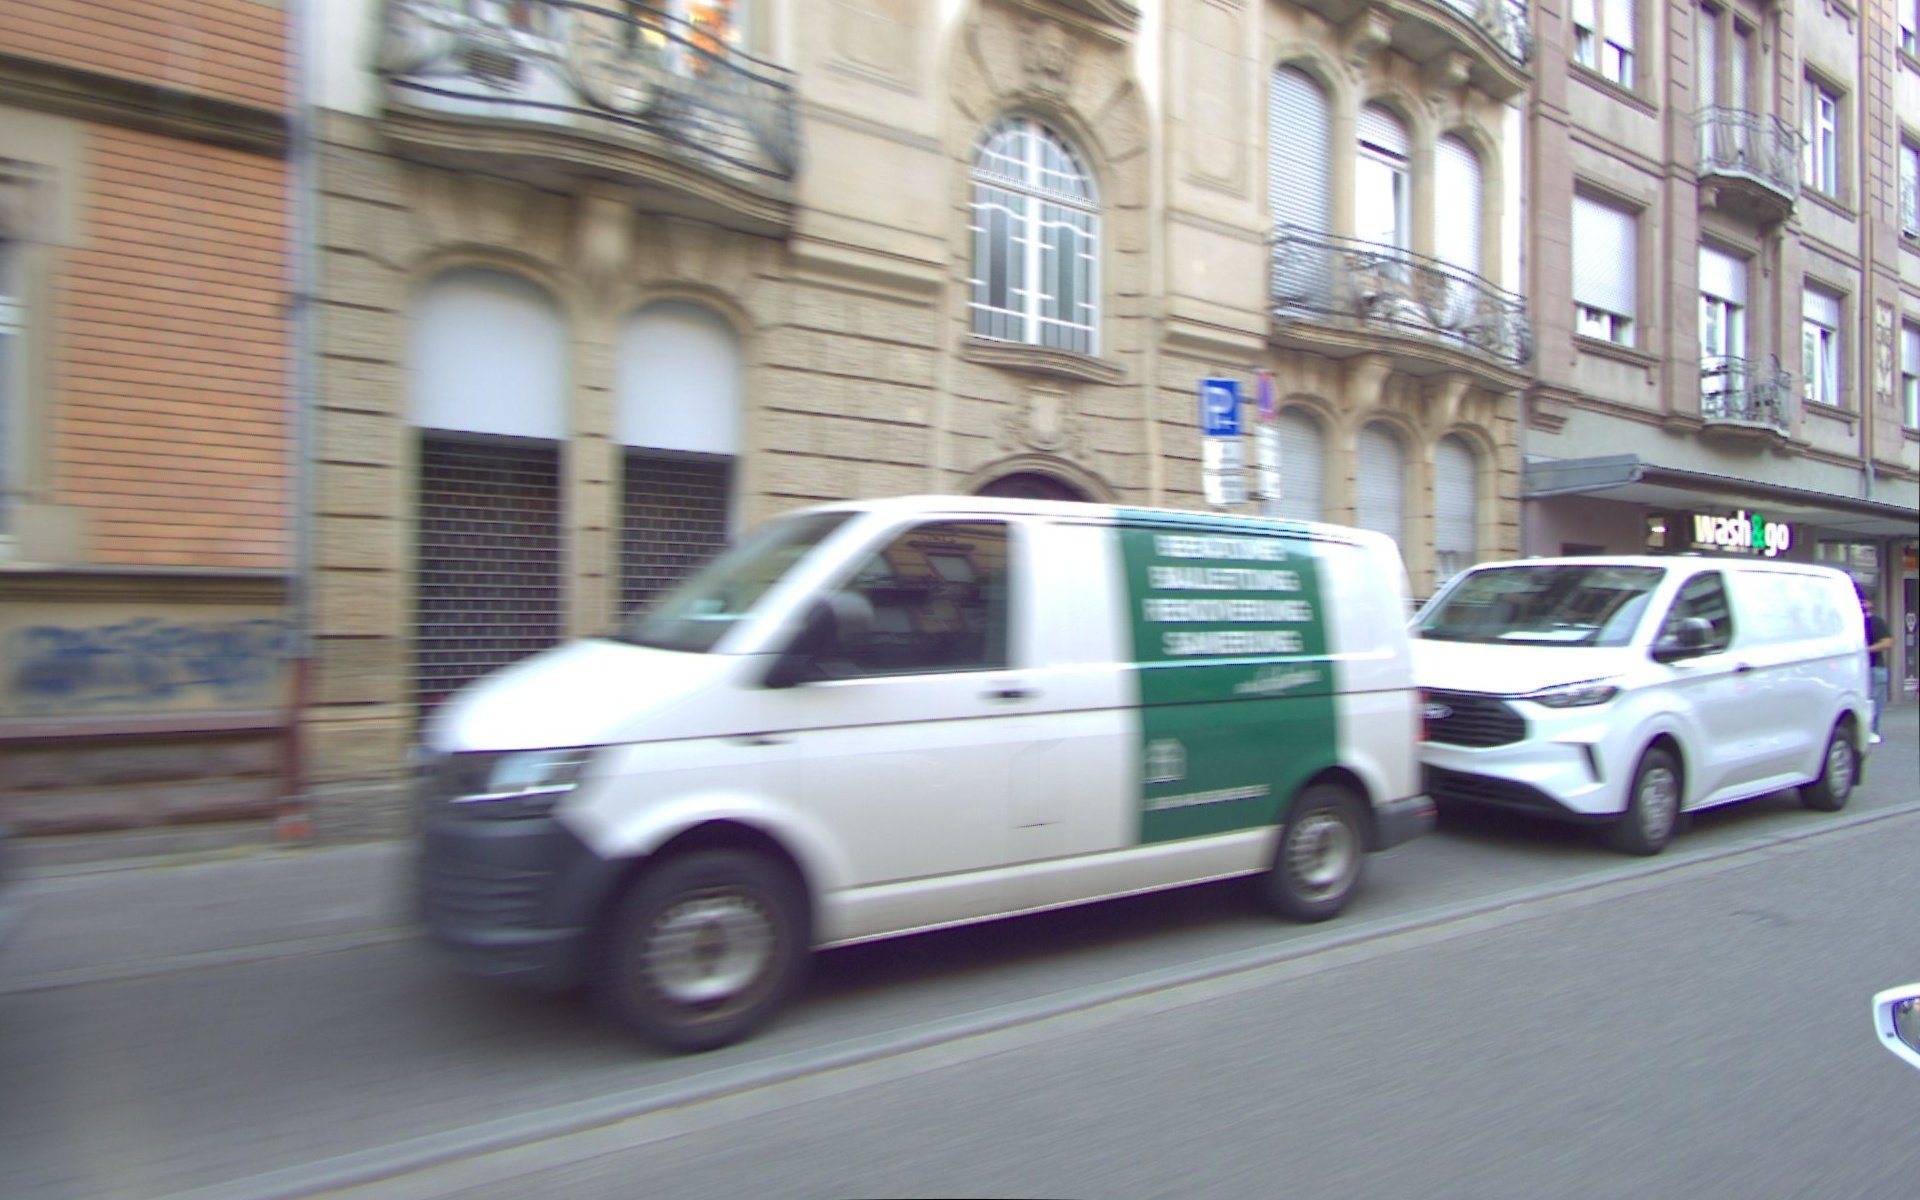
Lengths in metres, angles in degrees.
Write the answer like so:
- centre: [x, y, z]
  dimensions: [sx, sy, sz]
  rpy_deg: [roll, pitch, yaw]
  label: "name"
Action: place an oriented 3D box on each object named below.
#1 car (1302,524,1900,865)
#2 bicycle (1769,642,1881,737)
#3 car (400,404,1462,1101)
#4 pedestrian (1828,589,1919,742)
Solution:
- centre: [5.211, 0.599, 7.965]
  dimensions: [4.970, 1.947, 2.098]
  rpy_deg: [1, -1, -32]
  label: "car"
- centre: [11.250, 1.140, 13.049]
  dimensions: [1.762, 1.157, 0.469]
  rpy_deg: [2, 0, -27]
  label: "bicycle"
- centre: [0.082, 0.478, 4.808]
  dimensions: [4.788, 1.947, 1.828]
  rpy_deg: [1, -1, -30]
  label: "car"
- centre: [11.443, 0.803, 12.555]
  dimensions: [0.984, 1.848, 0.534]
  rpy_deg: [2, 0, -27]
  label: "pedestrian"
